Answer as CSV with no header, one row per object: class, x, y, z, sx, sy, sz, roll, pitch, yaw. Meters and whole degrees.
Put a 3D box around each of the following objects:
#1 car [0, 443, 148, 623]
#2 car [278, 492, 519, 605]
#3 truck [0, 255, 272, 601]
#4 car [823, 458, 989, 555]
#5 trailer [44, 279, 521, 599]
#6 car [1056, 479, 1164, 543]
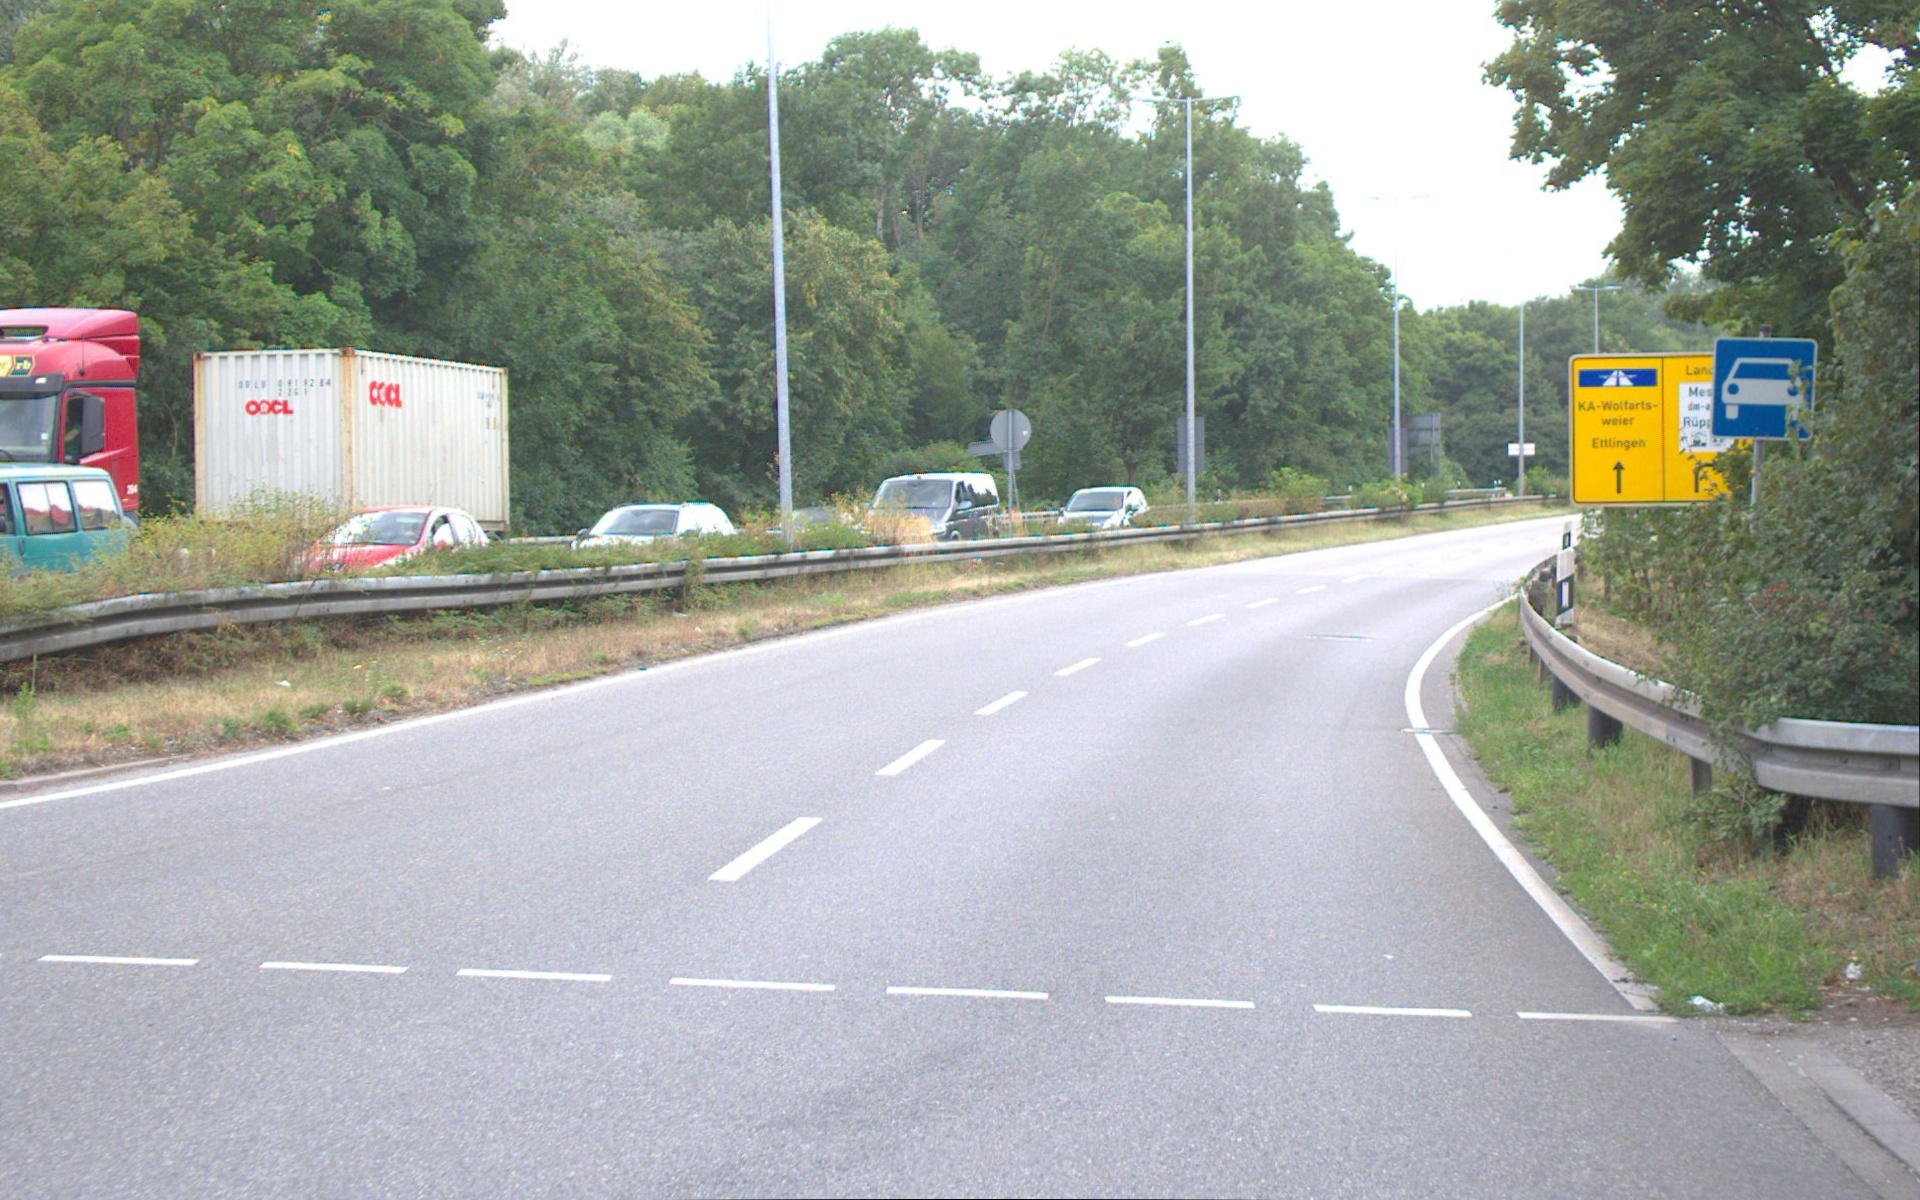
car,-9.918,-0.675,33.980,1.805,1.723,4.959,1,1,11
car,-7.486,-0.711,46.210,1.805,1.427,4.124,1,2,12
truck,-11.122,-2.109,43.515,2.570,4.069,5.619,1,1,14
car,-1.016,-1.856,68.460,2.011,1.857,5.275,1,2,14
trailer,-9.527,-2.229,50.083,2.536,4.133,10.765,1,1,14
car,3.628,-2.138,82.539,1.768,1.501,3.937,1,1,15
